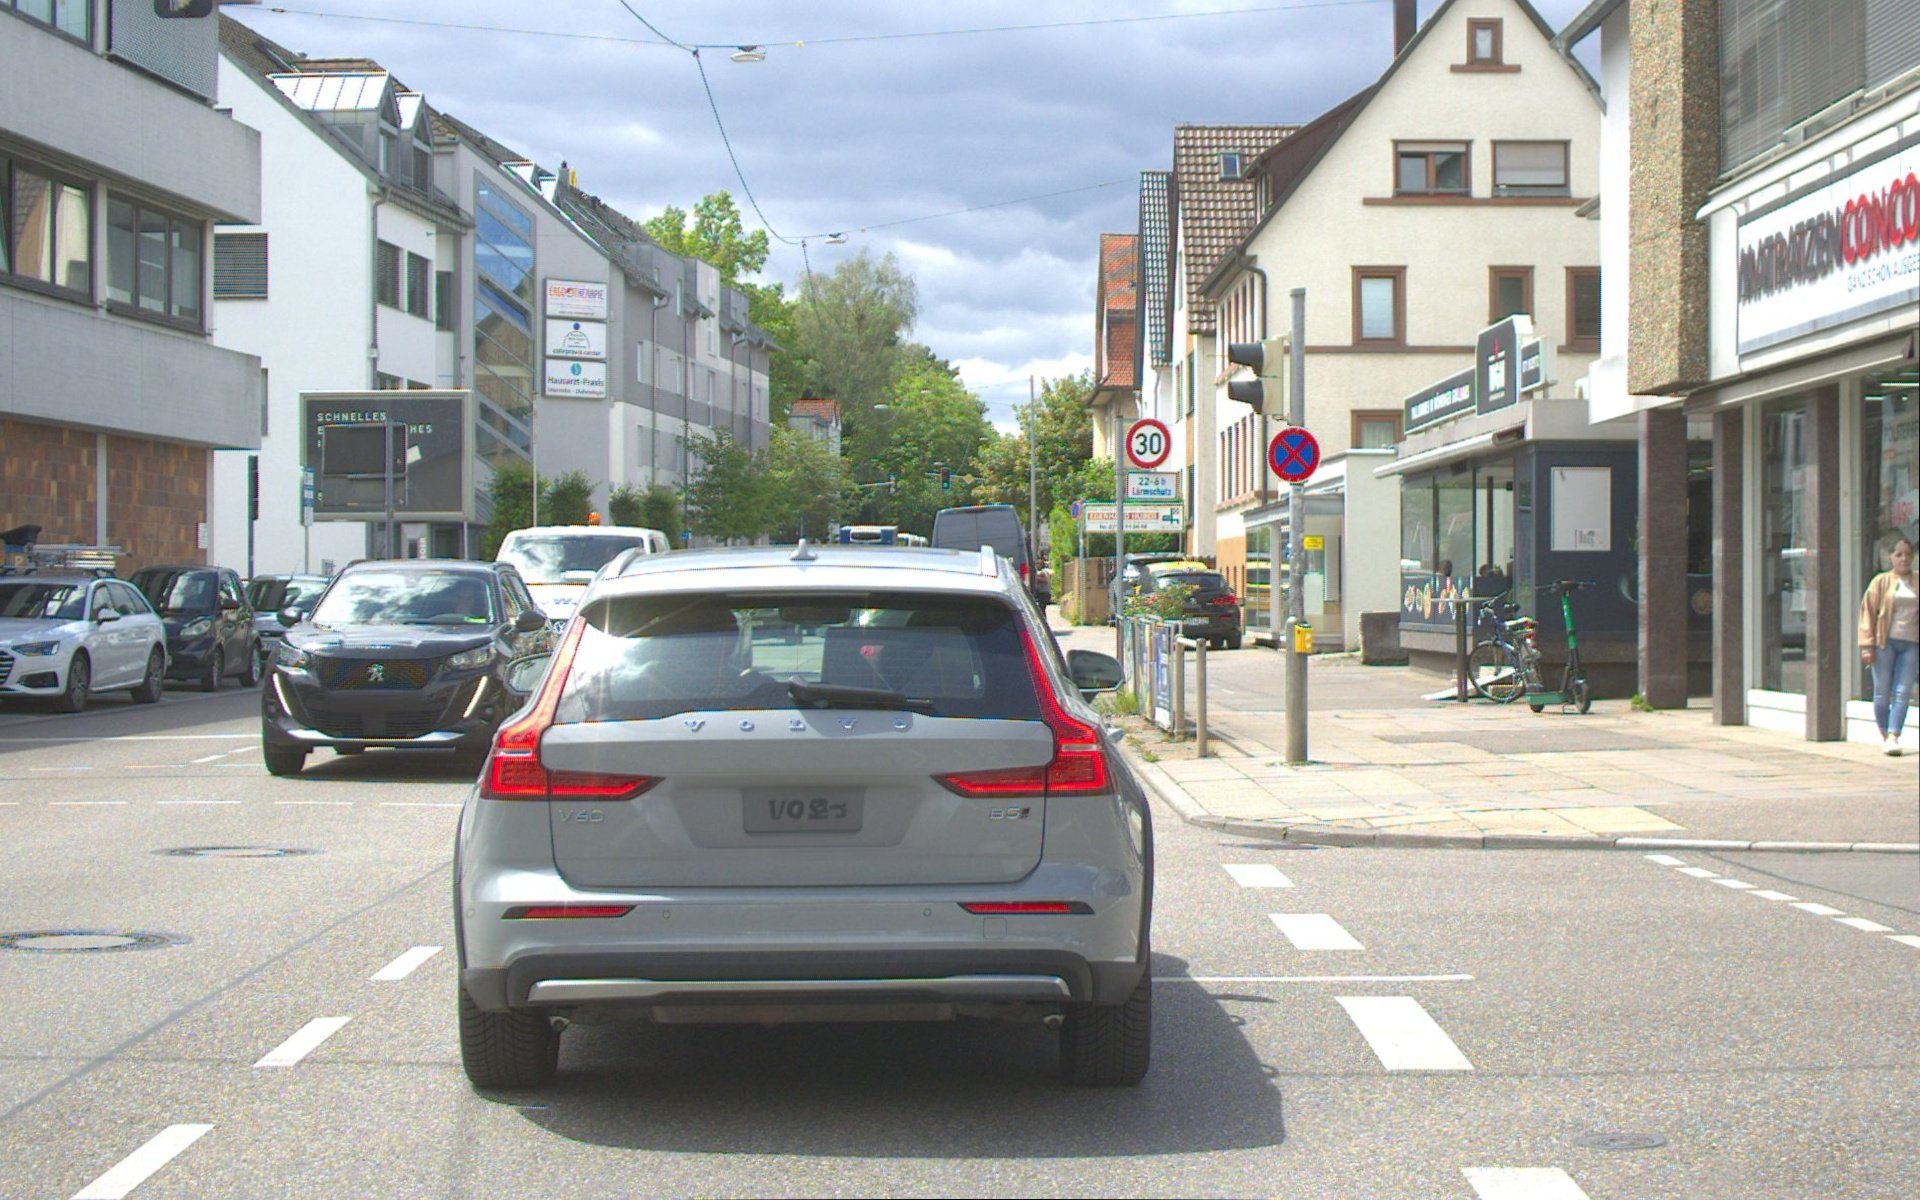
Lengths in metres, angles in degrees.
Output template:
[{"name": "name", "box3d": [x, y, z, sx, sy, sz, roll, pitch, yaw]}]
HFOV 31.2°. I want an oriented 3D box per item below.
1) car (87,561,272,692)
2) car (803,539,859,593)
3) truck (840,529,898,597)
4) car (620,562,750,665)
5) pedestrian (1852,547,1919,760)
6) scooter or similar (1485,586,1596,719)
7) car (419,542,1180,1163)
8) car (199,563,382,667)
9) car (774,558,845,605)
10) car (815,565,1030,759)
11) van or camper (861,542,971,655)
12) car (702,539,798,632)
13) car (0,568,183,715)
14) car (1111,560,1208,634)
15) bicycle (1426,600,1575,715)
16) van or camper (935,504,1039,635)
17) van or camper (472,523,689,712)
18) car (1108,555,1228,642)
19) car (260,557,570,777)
[{"name": "car", "box3d": [-9.818, 0.310, 43.426, 1.607, 1.538, 2.944, 2, 1, 0]}, {"name": "car", "box3d": [-4.548, -1.189, 121.786, 1.797, 1.810, 4.000, 1, -1, 0]}, {"name": "truck", "box3d": [-3.966, -1.615, 150.279, 2.276, 2.877, 7.079, 0, 1, 0]}, {"name": "car", "box3d": [-4.307, 0.184, 54.310, 1.668, 1.548, 4.215, 0, 1, 0]}, {"name": "pedestrian", "box3d": [6.521, 0.370, 23.971, 0.504, 1.454, 0.500, -3, 0, 13]}, {"name": "scooter or similar", "box3d": [5.586, 0.505, 33.143, 0.340, 1.249, 1.246, -2, 0, -26]}, {"name": "car", "box3d": [-0.421, 0.581, 10.330, 1.836, 1.481, 4.000, 0, 1, -1]}, {"name": "car", "box3d": [-9.650, 0.190, 49.826, 1.755, 1.421, 3.862, -1, 1, 2]}, {"name": "car", "box3d": [-4.705, -0.604, 108.135, 1.762, 1.421, 3.999, -1, 1, 4]}, {"name": "car", "box3d": [-0.322, 0.478, 28.551, 1.650, 1.477, 3.607, 1, 0, -1]}, {"name": "van or camper", "box3d": [-0.755, 0.005, 58.668, 1.819, 1.829, 4.000, 0, -1, -1]}, {"name": "car", "box3d": [-4.478, -0.308, 73.648, 1.838, 1.911, 4.156, 1, 0, -1]}, {"name": "car", "box3d": [-10.076, 0.406, 37.527, 1.904, 1.438, 4.442, 2, 1, 4]}, {"name": "car", "box3d": [4.288, -0.046, 74.452, 1.883, 1.495, 3.971, 1, -1, 0]}, {"name": "bicycle", "box3d": [5.646, 0.584, 36.046, 0.554, 1.140, 2.301, -1, 1, -18]}, {"name": "van or camper", "box3d": [0.566, -0.657, 72.900, 2.123, 2.677, 4.781, 0, 1, 0]}, {"name": "van or camper", "box3d": [-4.033, 0.128, 37.168, 1.864, 1.891, 4.693, 0, 1, -1]}, {"name": "car", "box3d": [3.657, 0.000, 61.139, 1.710, 1.459, 4.000, 1, -1, -2]}, {"name": "car", "box3d": [-3.966, 0.434, 25.580, 1.683, 1.492, 3.967, -1, 1, 0]}]
